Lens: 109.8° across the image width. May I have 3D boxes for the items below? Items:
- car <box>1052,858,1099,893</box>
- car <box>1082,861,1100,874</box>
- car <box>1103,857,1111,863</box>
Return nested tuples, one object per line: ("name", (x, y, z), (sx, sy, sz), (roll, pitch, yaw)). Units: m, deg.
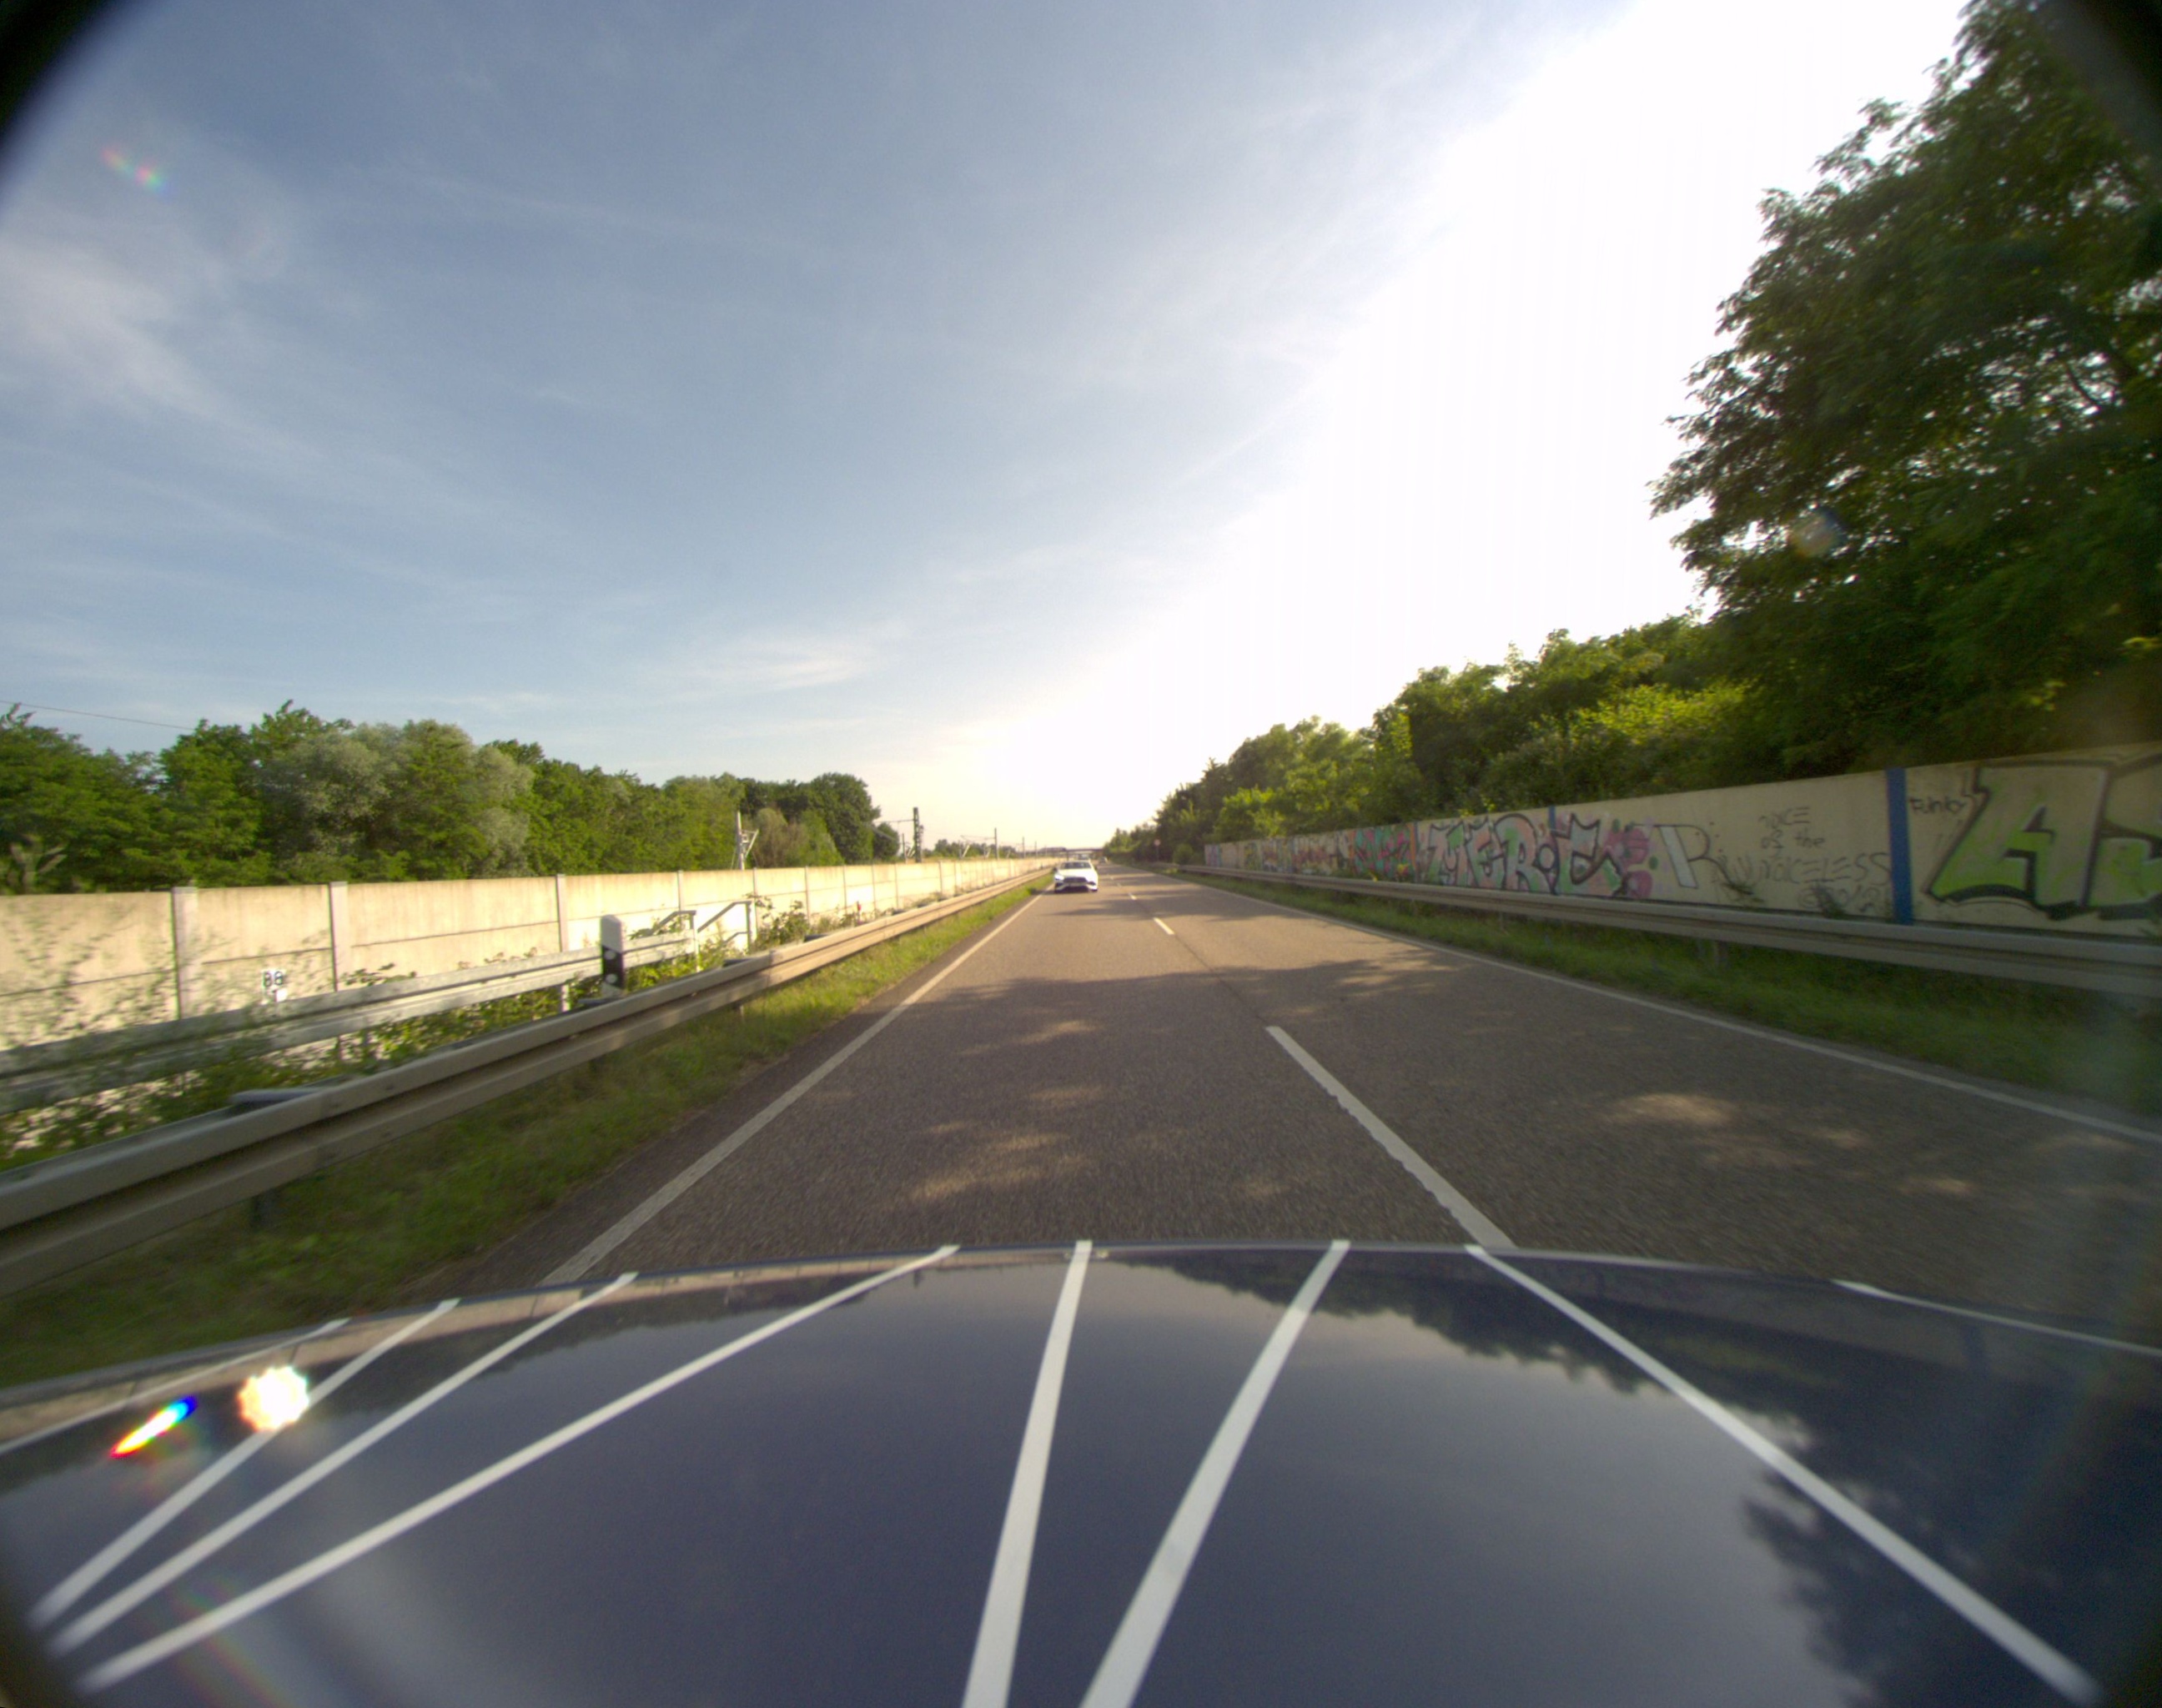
("car", (-0.209, 0.931, 34.388), (1.953, 1.430, 4.612), (-1, 0, 1))
("car", (1.201, 1.548, 89.288), (1.953, 1.430, 4.612), (-3, 0, 1))
("car", (5.763, 1.286, 166.591), (1.724, 1.386, 4.360), (-1, 0, 1))
